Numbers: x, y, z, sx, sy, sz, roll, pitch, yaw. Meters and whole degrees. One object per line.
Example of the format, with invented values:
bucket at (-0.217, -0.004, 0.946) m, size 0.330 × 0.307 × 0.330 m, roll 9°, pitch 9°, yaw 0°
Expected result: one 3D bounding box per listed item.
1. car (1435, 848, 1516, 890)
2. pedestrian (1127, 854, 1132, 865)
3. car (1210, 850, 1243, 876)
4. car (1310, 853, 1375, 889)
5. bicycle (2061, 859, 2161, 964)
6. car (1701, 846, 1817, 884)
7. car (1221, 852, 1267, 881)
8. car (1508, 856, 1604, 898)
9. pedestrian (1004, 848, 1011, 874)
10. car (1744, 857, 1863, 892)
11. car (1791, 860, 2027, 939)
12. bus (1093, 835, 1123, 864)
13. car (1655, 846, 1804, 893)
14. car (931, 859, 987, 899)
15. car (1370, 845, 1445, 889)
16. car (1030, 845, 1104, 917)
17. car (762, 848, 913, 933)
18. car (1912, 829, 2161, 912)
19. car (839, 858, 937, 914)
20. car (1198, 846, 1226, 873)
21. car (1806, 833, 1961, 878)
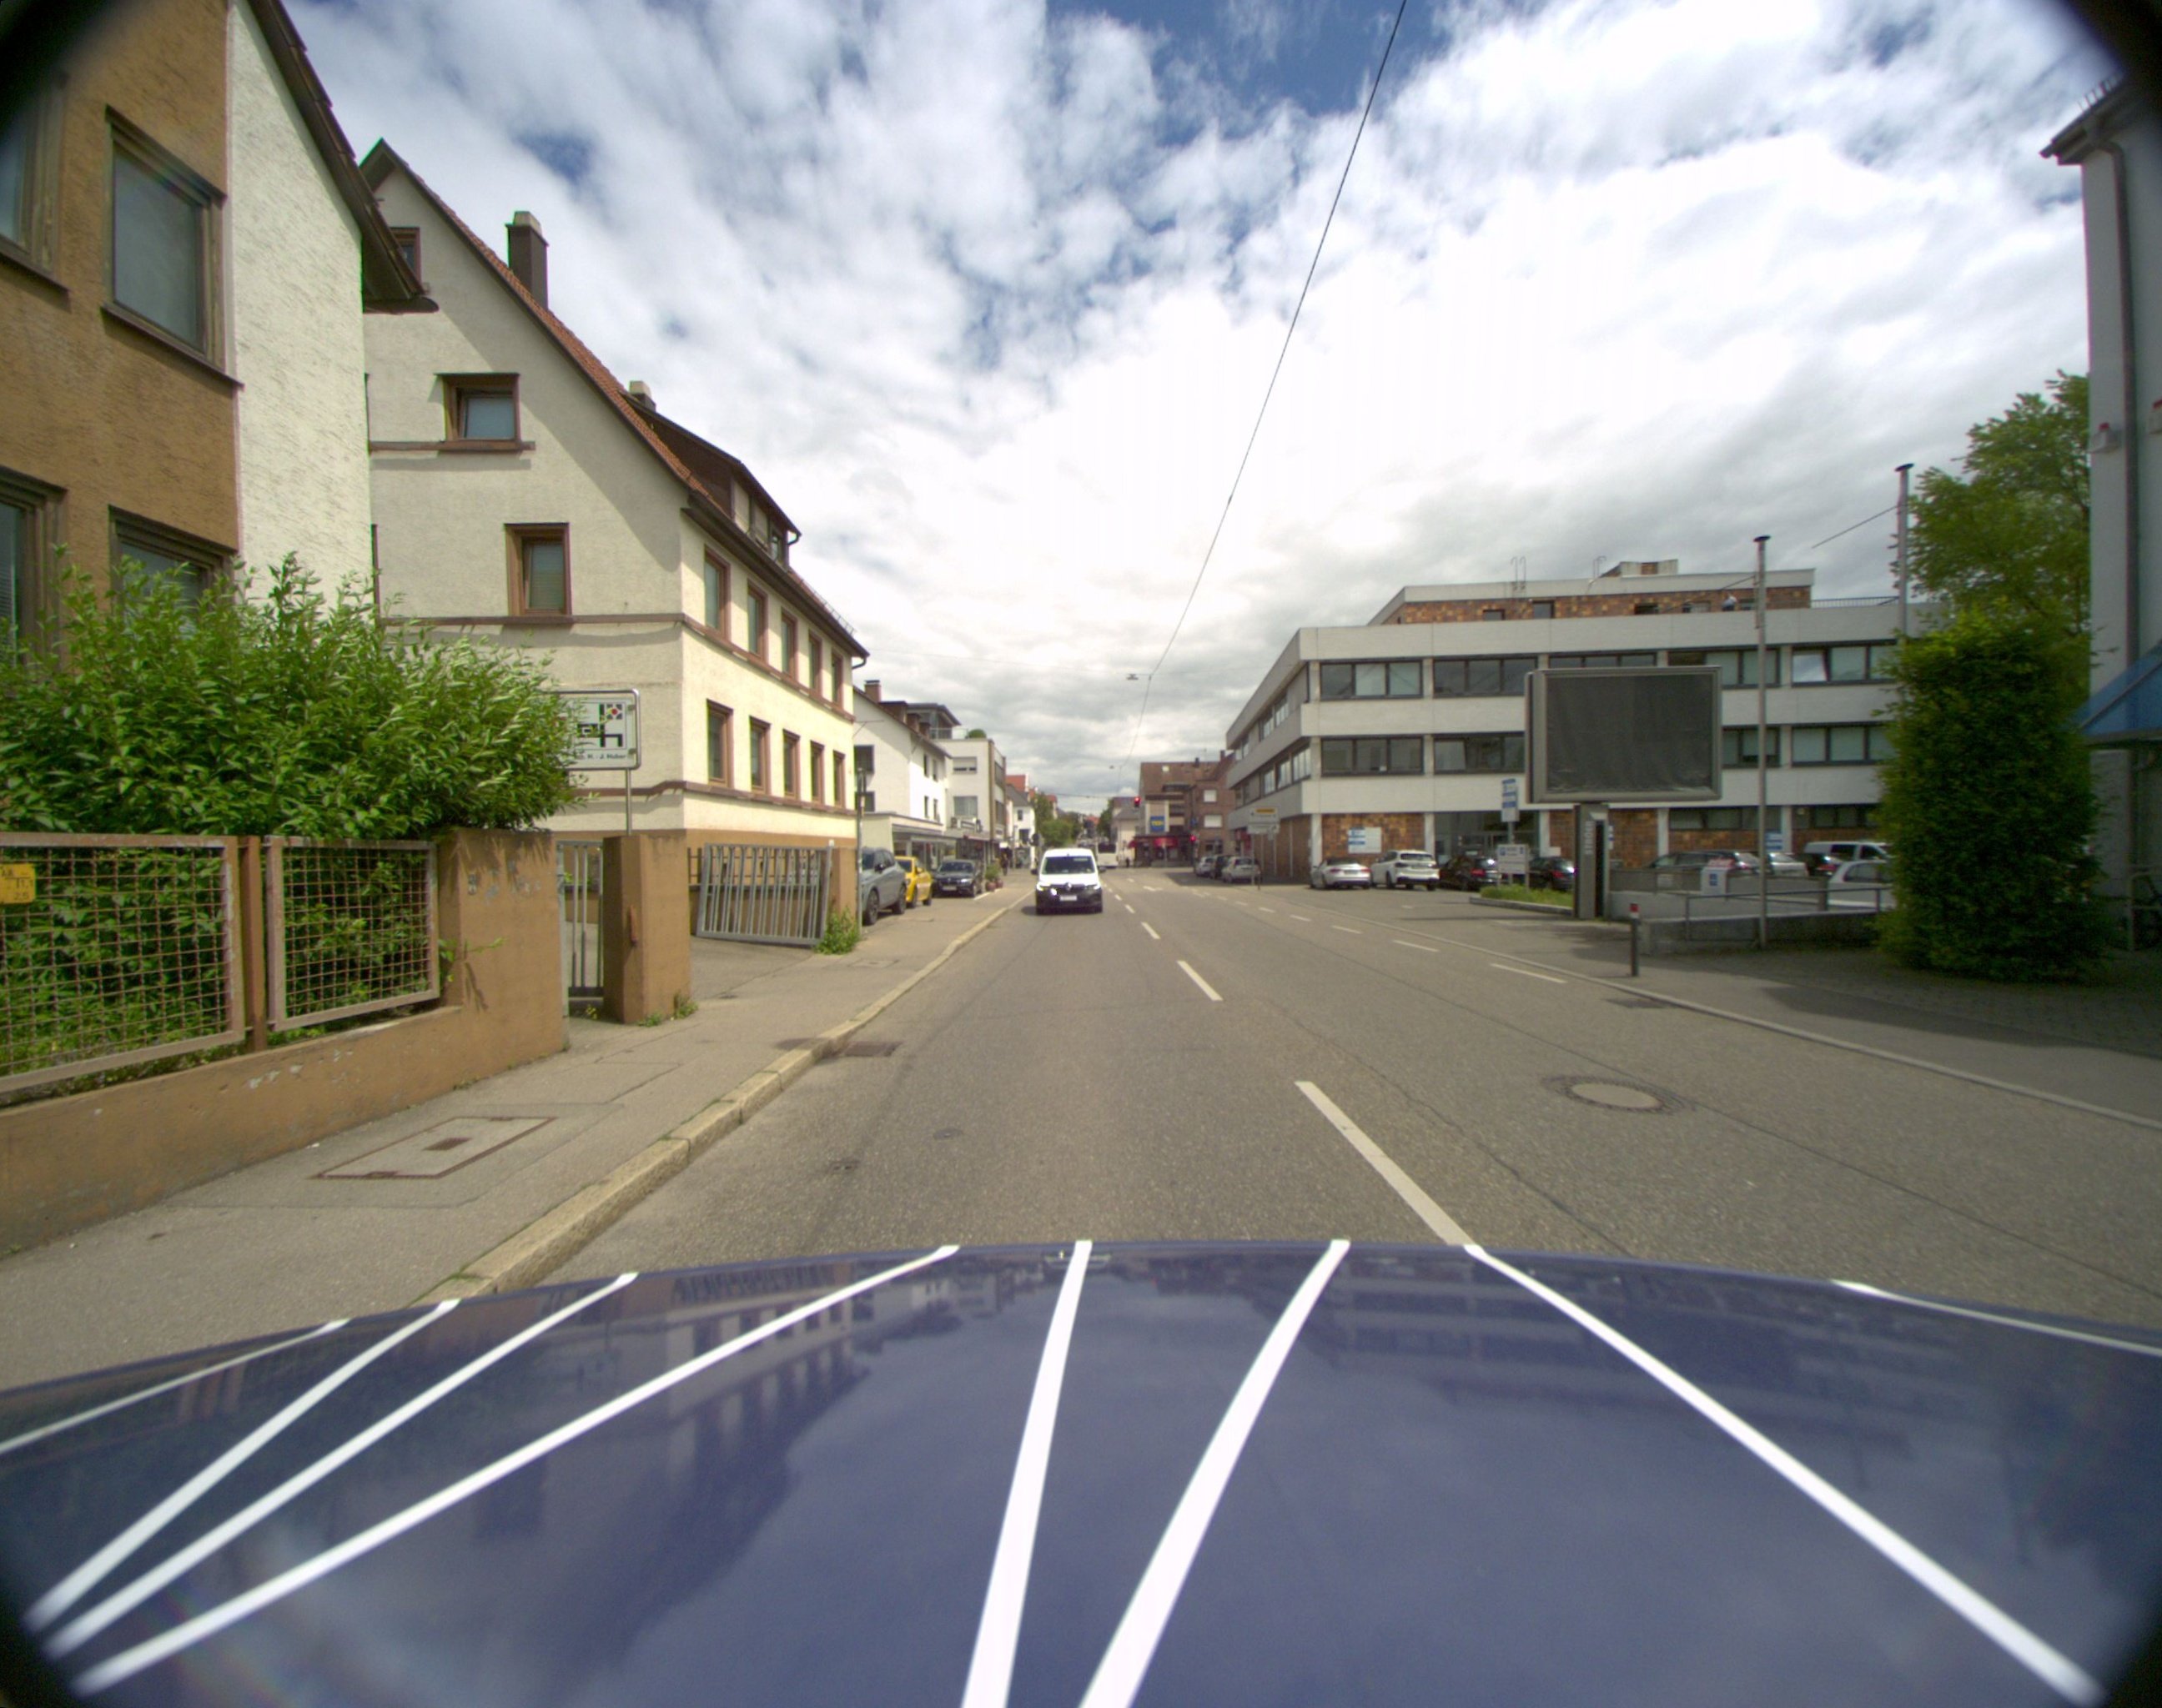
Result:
car at (16.559, 0.575, 32.109) m, size 1.648 × 1.599 × 3.843 m, roll -2°, pitch 1°, yaw 4°
pedestrian at (6.470, 0.723, 102.138) m, size 0.669 × 1.424 × 0.778 m, roll 0°, pitch 1°, yaw 5°
car at (9.176, 0.528, 48.267) m, size 1.808 × 1.521 × 4.002 m, roll -2°, pitch 1°, yaw 7°
car at (11.110, 0.690, 32.565) m, size 1.824 × 1.321 × 4.237 m, roll -2°, pitch 1°, yaw 7°
bicycle at (12.339, 0.647, 8.456) m, size 0.644 × 1.135 × 1.686 m, roll -2°, pitch 1°, yaw -4°
car at (28.003, 0.421, 31.552) m, size 1.667 × 1.432 × 3.857 m, roll -2°, pitch 1°, yaw 7°
car at (8.880, 0.637, 41.672) m, size 1.839 × 1.418 × 4.219 m, roll -2°, pitch 1°, yaw 4°
car at (19.918, 0.912, 32.032) m, size 1.796 × 1.557 × 3.666 m, roll -2°, pitch 1°, yaw 1°
pedestrian at (-5.809, 0.554, 60.213) m, size 0.476 × 2.010 × 0.918 m, roll 0°, pitch 1°, yaw 1°
car at (30.039, 0.814, 31.753) m, size 1.660 × 1.252 × 3.857 m, roll -2°, pitch 1°, yaw 7°
car at (20.705, 1.056, 19.281) m, size 1.822 × 1.656 × 3.950 m, roll -2°, pitch 1°, yaw 3°
bus at (3.143, -0.527, 91.317) m, size 3.133 × 3.239 × 9.749 m, roll -2°, pitch 1°, yaw -1°
car at (22.573, 0.469, 26.671) m, size 1.998 × 1.465 × 4.001 m, roll -2°, pitch 1°, yaw 4°
car at (-4.714, 0.941, 29.809) m, size 1.656 × 1.413 × 3.999 m, roll 0°, pitch 0°, yaw -2°
car at (13.641, 0.506, 31.964) m, size 1.896 × 1.687 × 3.802 m, roll 1°, pitch 1°, yaw 7°
car at (-0.285, 0.672, 22.215) m, size 1.870 × 1.805 × 5.006 m, roll -2°, pitch 1°, yaw 2°
car at (-5.119, 0.699, 16.613) m, size 1.999 × 1.610 × 4.100 m, roll 0°, pitch 0°, yaw -1°
car at (23.497, 0.335, 18.685) m, size 1.858 × 1.804 × 3.988 m, roll -2°, pitch 1°, yaw 3°
car at (-5.309, 0.821, 21.425) m, size 1.926 × 1.404 × 3.999 m, roll 0°, pitch 0°, yaw -3°
car at (9.215, 0.330, 53.629) m, size 1.701 × 1.766 × 4.463 m, roll -2°, pitch 1°, yaw 7°
car at (32.797, 0.040, 31.273) m, size 1.975 × 1.656 × 4.428 m, roll -2°, pitch 1°, yaw 6°
